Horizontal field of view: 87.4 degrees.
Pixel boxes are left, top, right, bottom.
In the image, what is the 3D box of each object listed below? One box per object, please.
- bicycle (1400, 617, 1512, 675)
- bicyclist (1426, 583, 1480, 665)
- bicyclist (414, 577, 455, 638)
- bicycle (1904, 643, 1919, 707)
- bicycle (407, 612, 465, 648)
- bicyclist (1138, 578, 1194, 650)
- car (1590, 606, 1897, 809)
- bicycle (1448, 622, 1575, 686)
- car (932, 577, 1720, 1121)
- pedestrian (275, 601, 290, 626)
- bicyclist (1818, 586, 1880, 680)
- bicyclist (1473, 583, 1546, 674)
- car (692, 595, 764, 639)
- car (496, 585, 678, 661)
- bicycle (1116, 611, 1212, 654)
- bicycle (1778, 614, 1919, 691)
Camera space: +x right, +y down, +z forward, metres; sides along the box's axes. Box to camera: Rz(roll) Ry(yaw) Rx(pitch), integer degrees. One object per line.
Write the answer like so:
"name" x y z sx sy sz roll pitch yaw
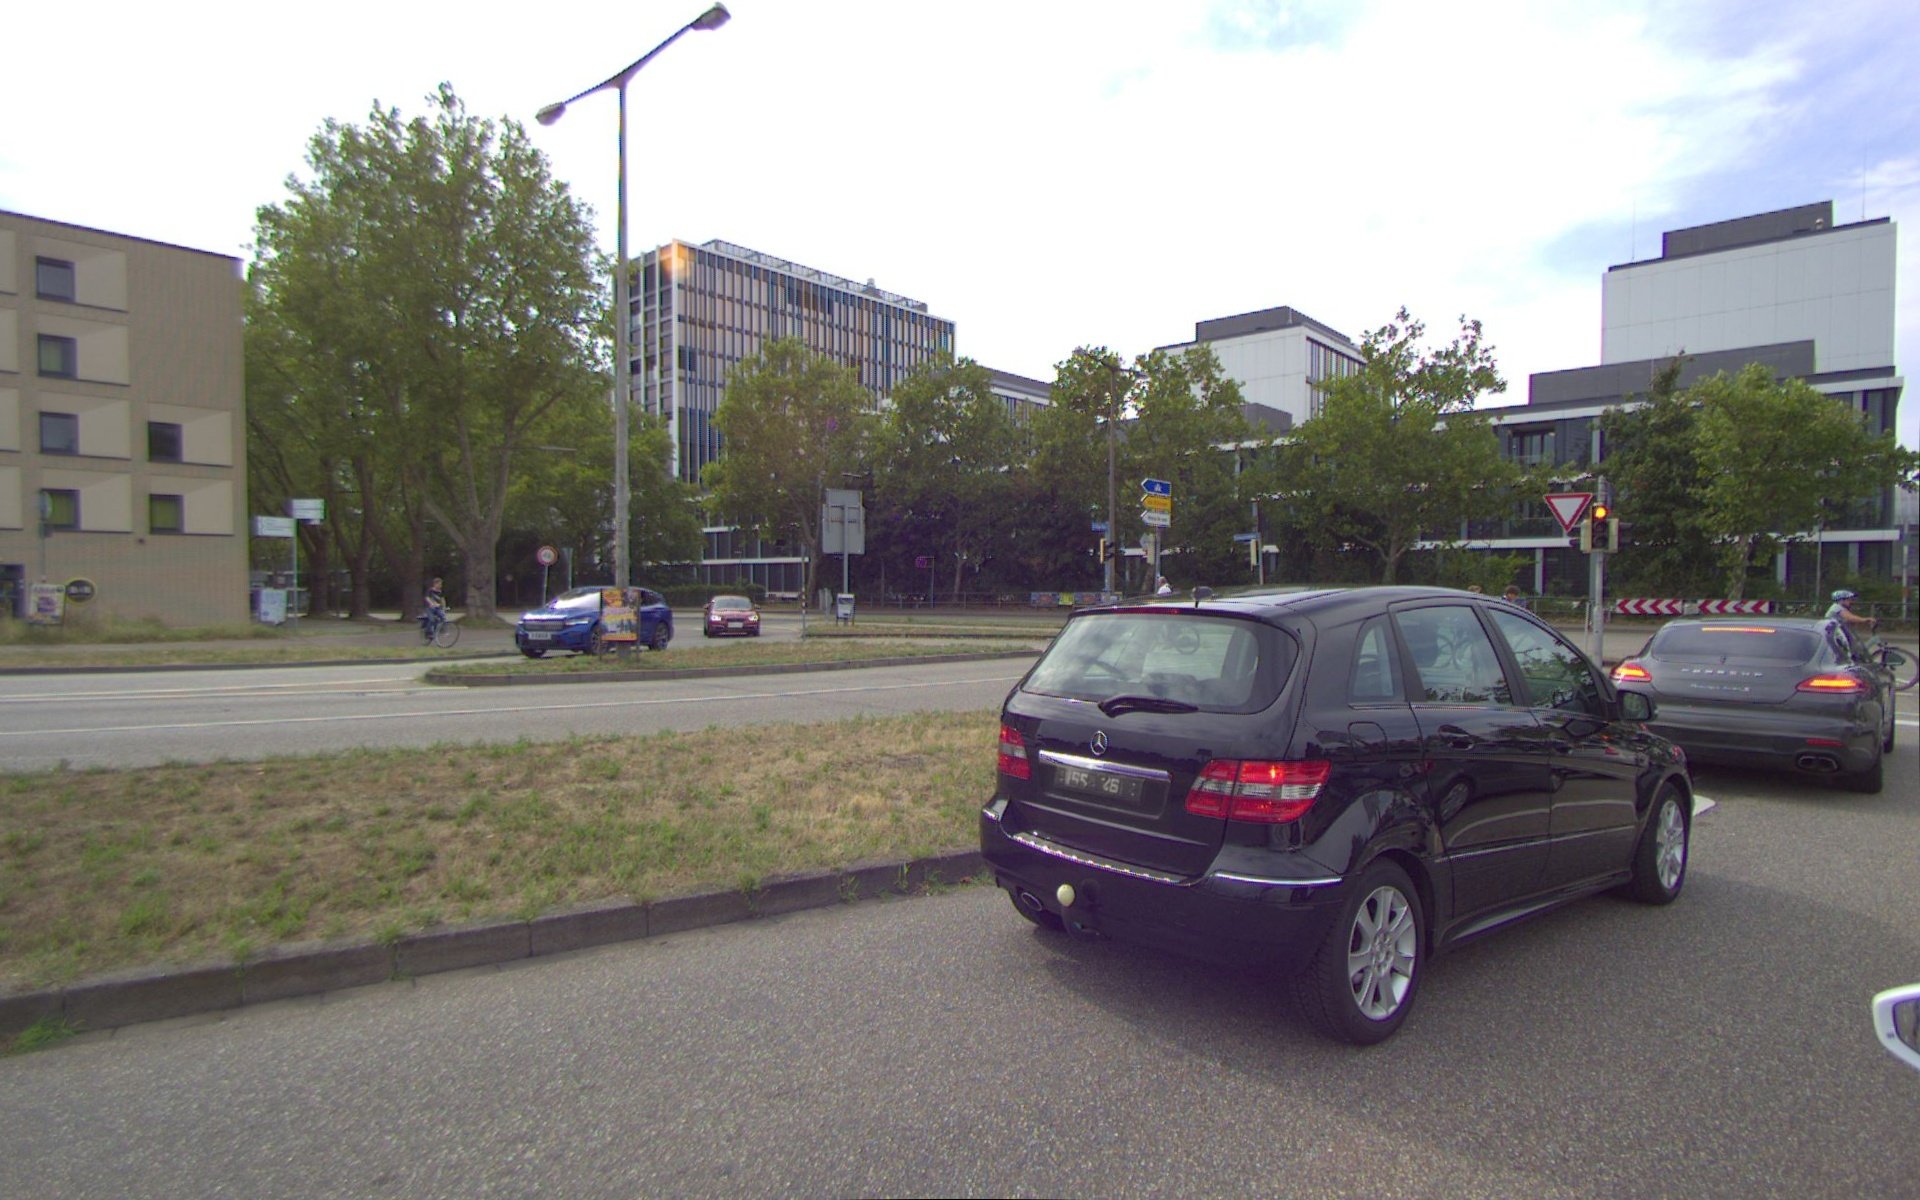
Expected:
"bicycle" 9.661 0.872 19.606 1.878 1.027 0.626 1 1 39
"bicyclist" 9.641 0.453 19.634 0.828 1.550 0.626 1 1 39
"bicyclist" -14.293 0.191 27.326 0.907 1.636 0.737 1 1 42
"bicycle" 15.095 1.113 14.139 2.551 0.902 0.702 1 1 38
"bicycle" -14.247 0.799 27.293 2.089 0.921 0.737 1 0 43
"bicyclist" 5.079 0.332 24.787 1.097 1.719 0.810 1 1 35
"car" 7.720 0.804 9.690 1.800 1.433 4.746 2 1 44
"bicycle" 9.756 0.928 17.810 1.879 1.027 0.625 1 1 41
"car" 1.982 0.706 4.880 4.000 1.596 1.743 -1 2 -38
"pedestrian" -30.613 0.602 45.386 0.498 1.140 0.458 0 1 -41
"bicyclist" 15.545 0.551 17.559 0.771 1.602 0.651 1 1 43
"bicyclist" 9.735 0.476 17.807 1.004 1.560 0.625 1 1 41
"car" -8.189 0.569 35.165 1.920 1.399 4.194 1 0 -21
"car" -8.610 0.510 23.669 1.910 1.581 4.466 1 0 12
"bicycle" 5.025 0.784 24.824 2.199 0.965 0.809 1 0 36
"bicycle" 15.560 0.884 17.567 1.881 1.226 0.639 1 1 44
